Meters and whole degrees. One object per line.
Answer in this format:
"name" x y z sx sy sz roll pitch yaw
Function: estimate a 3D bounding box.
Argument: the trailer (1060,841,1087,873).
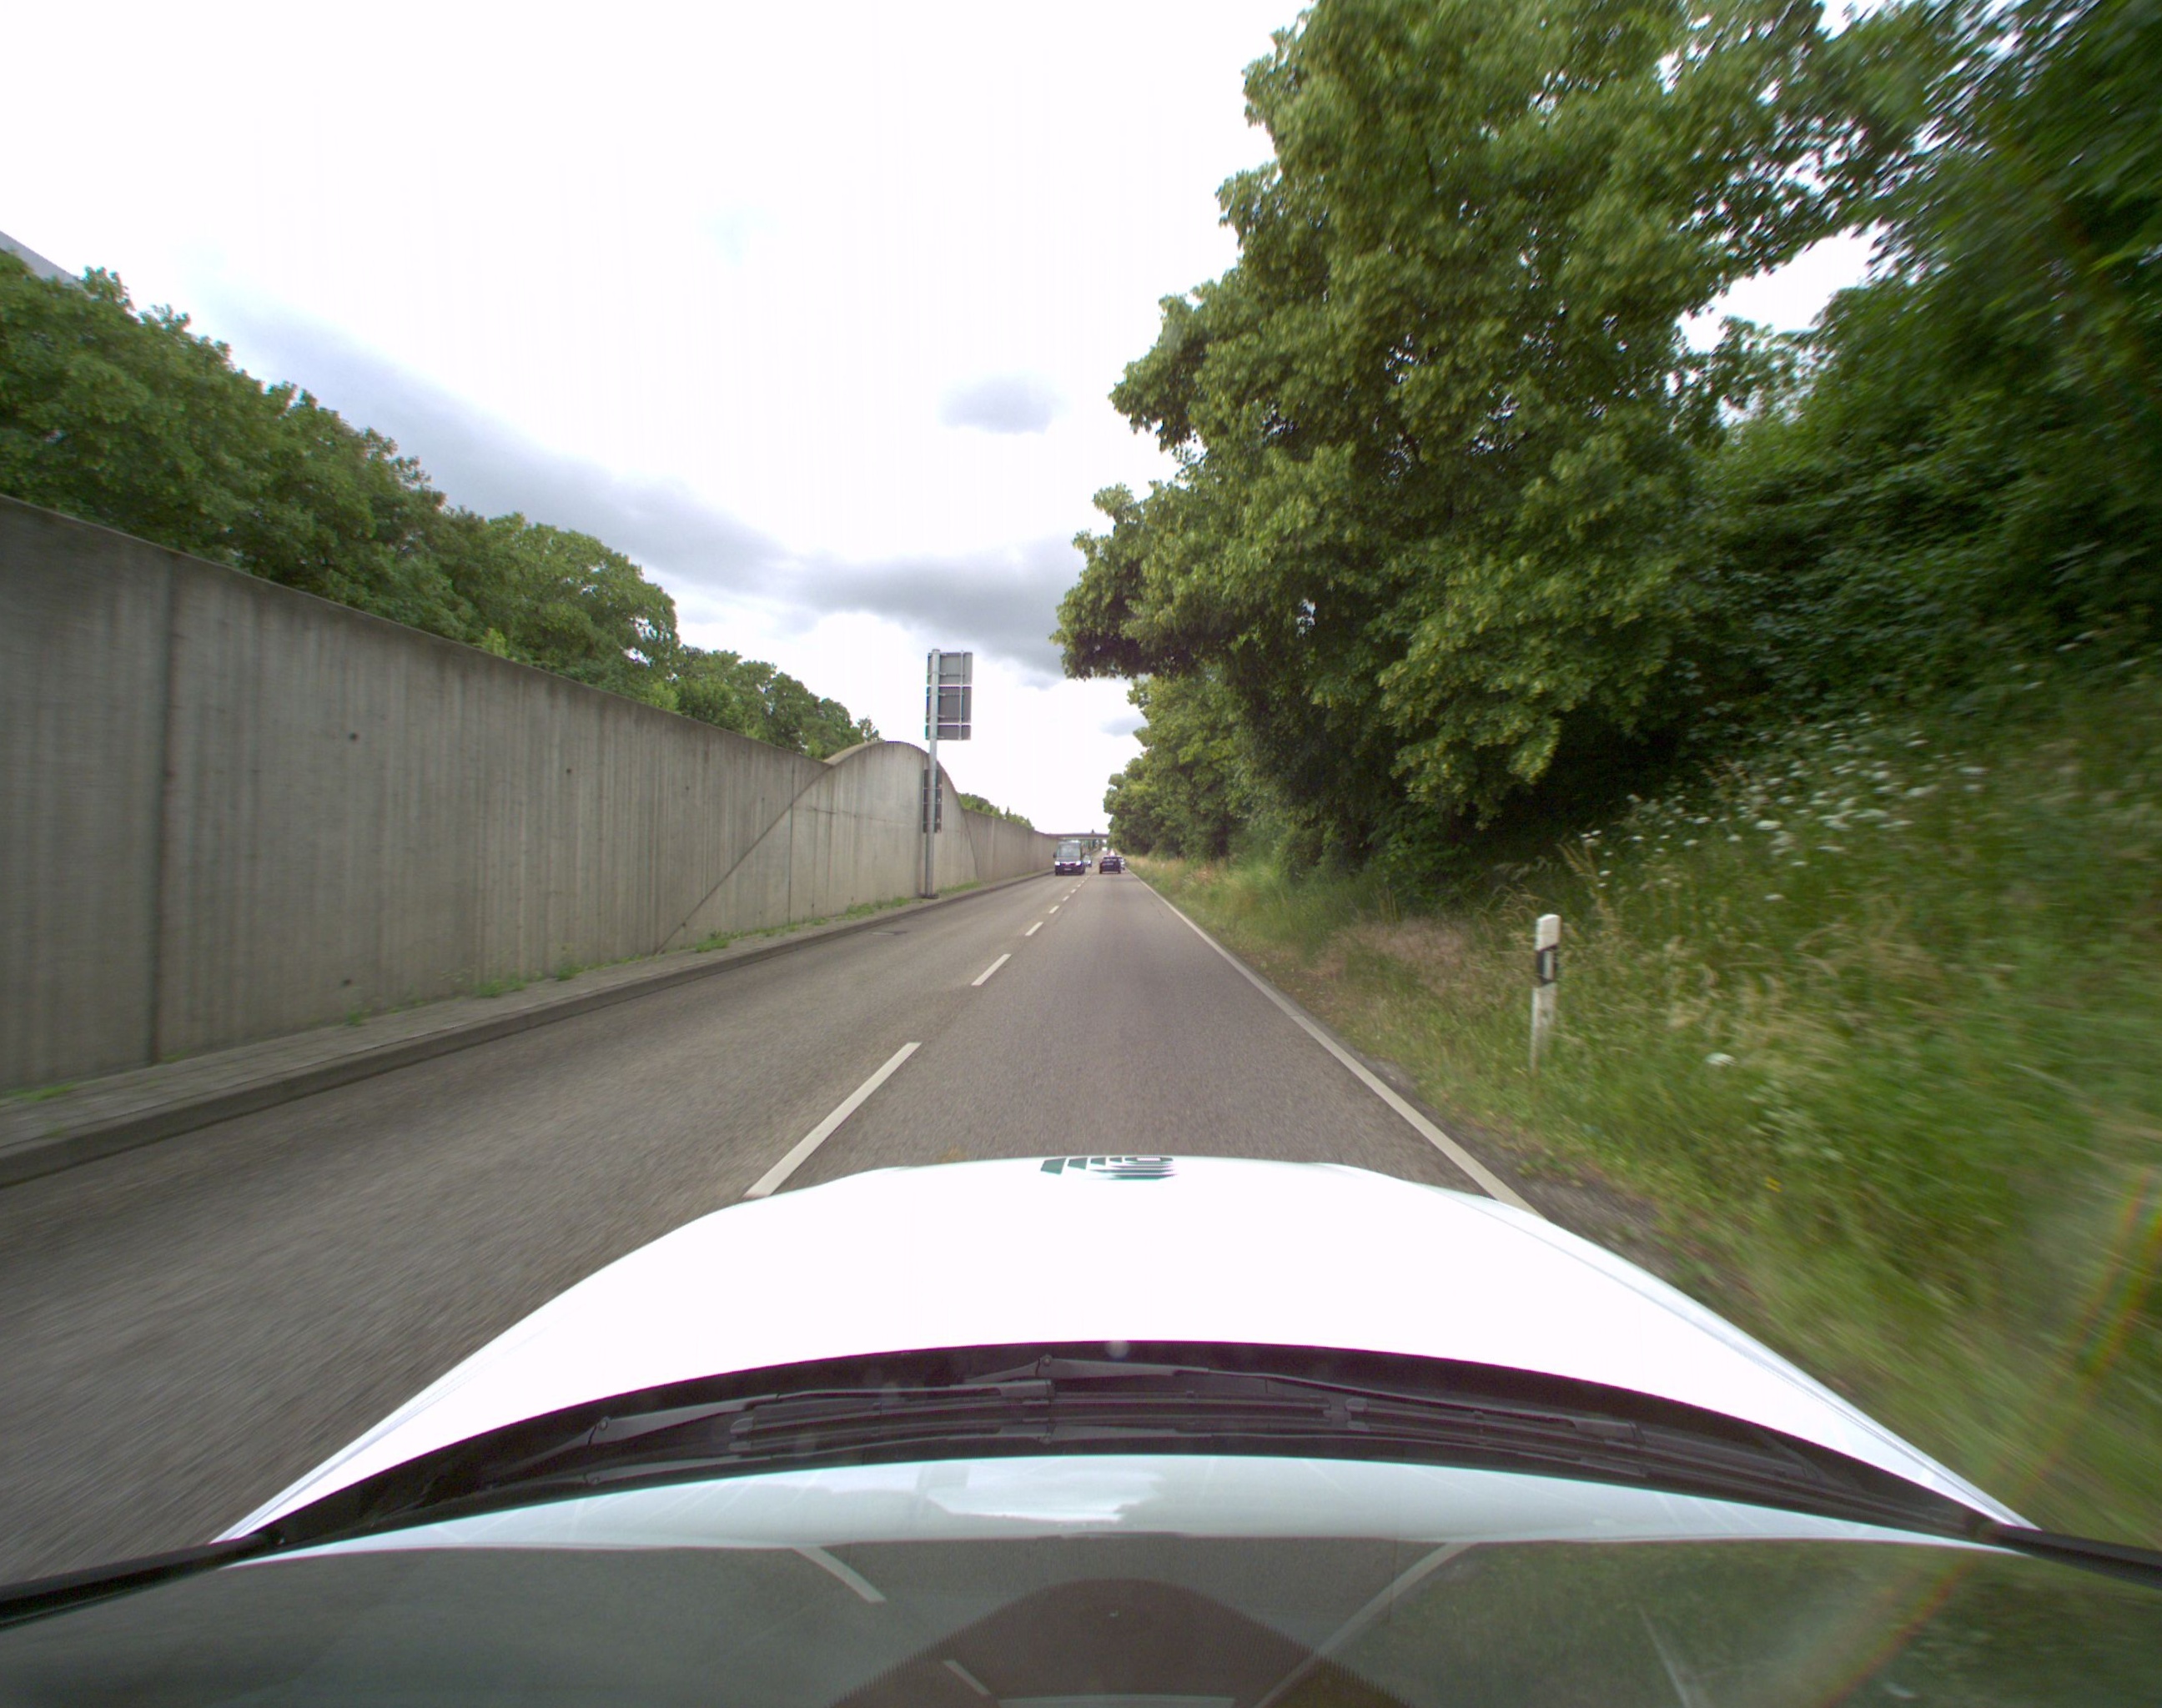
"trailer" -0.588 0.282 69.830 2.101 2.630 4.374 -1 0 2

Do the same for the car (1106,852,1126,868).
"car" 3.569 0.614 83.027 1.749 1.523 4.033 -2 -2 -2

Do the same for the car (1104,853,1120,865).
"car" 3.993 0.651 105.030 1.860 1.490 4.256 3 0 0

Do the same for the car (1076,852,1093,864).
"car" 0.475 0.462 103.542 1.885 1.483 4.825 -1 0 2

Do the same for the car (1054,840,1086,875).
"car" -0.807 0.266 63.926 2.101 2.630 7.421 -1 0 2

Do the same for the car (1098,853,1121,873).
"car" 2.321 0.721 67.043 1.748 1.523 4.037 -2 -1 1
